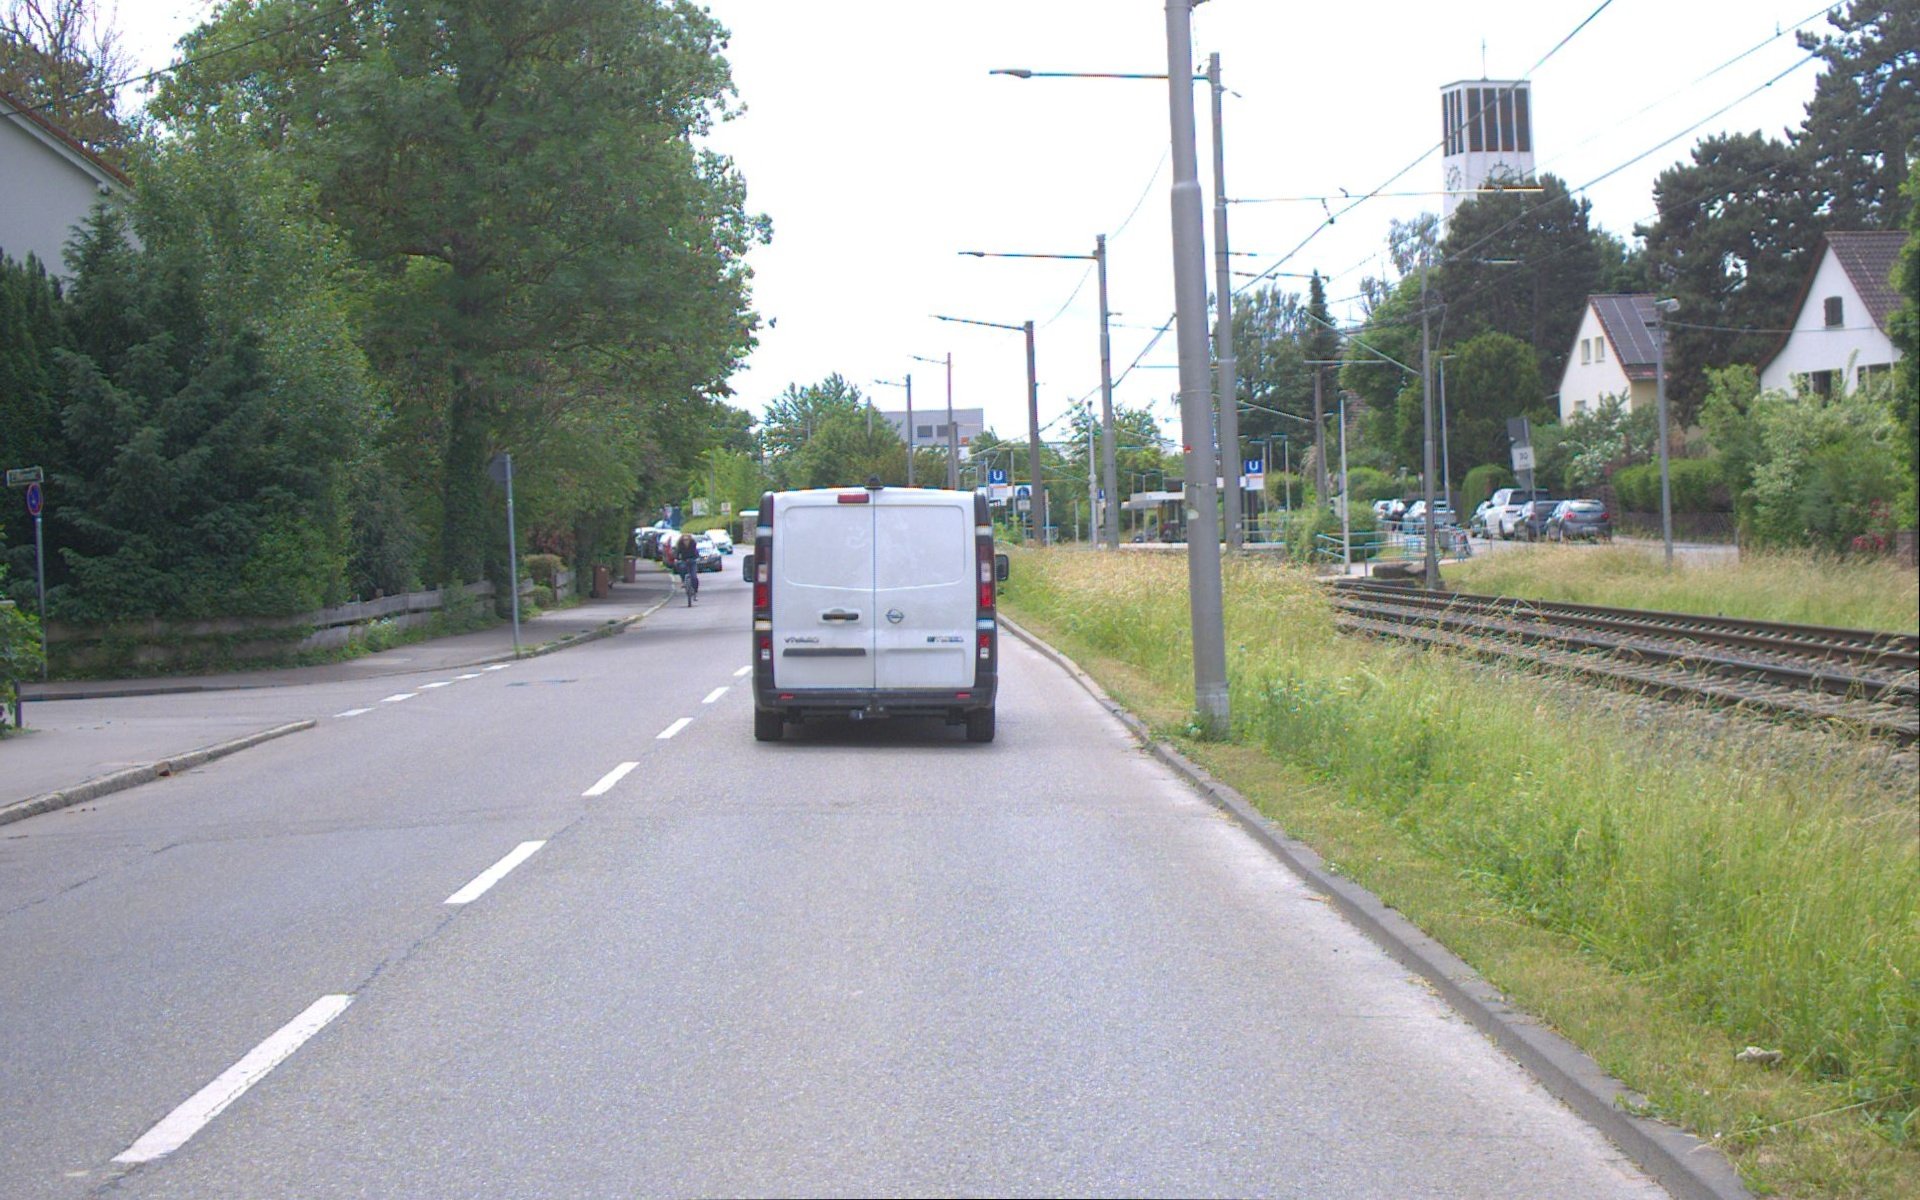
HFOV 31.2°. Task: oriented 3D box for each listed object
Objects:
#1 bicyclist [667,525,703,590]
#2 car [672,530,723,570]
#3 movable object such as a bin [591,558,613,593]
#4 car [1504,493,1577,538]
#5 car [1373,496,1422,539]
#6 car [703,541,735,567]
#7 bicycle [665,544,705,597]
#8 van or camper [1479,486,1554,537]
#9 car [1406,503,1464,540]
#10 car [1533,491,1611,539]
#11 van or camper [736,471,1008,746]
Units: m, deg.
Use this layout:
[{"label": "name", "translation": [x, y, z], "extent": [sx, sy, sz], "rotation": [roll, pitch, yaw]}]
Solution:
[{"label": "bicyclist", "translation": [-6.680, -1.033, 83.540], "extent": [0.778, 1.544, 0.870], "rotation": [-2, 1, -1]}, {"label": "car", "translation": [-10.617, -2.037, 138.853], "extent": [1.736, 1.499, 4.479], "rotation": [-4, 2, -7]}, {"label": "movable object such as a bin", "translation": [-9.581, -0.654, 92.011], "extent": [0.513, 0.941, 0.568], "rotation": [-1, 1, -1]}, {"label": "car", "translation": [20.719, -3.017, 122.890], "extent": [1.883, 1.517, 4.000], "rotation": [-2, 1, 0]}, {"label": "car", "translation": [20.077, -3.775, 157.870], "extent": [1.732, 1.907, 3.935], "rotation": [0, 0, -1]}, {"label": "car", "translation": [-14.024, -2.678, 199.948], "extent": [1.693, 1.425, 3.787], "rotation": [-4, 1, -4]}, {"label": "bicycle", "translation": [-6.674, -0.726, 83.464], "extent": [0.755, 1.222, 2.308], "rotation": [-3, 1, -1]}, {"label": "van or camper", "translation": [20.627, -3.278, 127.608], "extent": [1.905, 1.819, 5.048], "rotation": [-2, 1, 0]}, {"label": "car", "translation": [20.613, -3.424, 149.317], "extent": [1.883, 1.517, 4.000], "rotation": [-2, 1, 0]}, {"label": "car", "translation": [20.774, -2.883, 116.837], "extent": [1.883, 1.517, 4.000], "rotation": [-2, 1, 0]}, {"label": "van or camper", "translation": [-0.669, 0.033, 27.530], "extent": [1.993, 2.007, 4.446], "rotation": [0, 1, -1]}]
